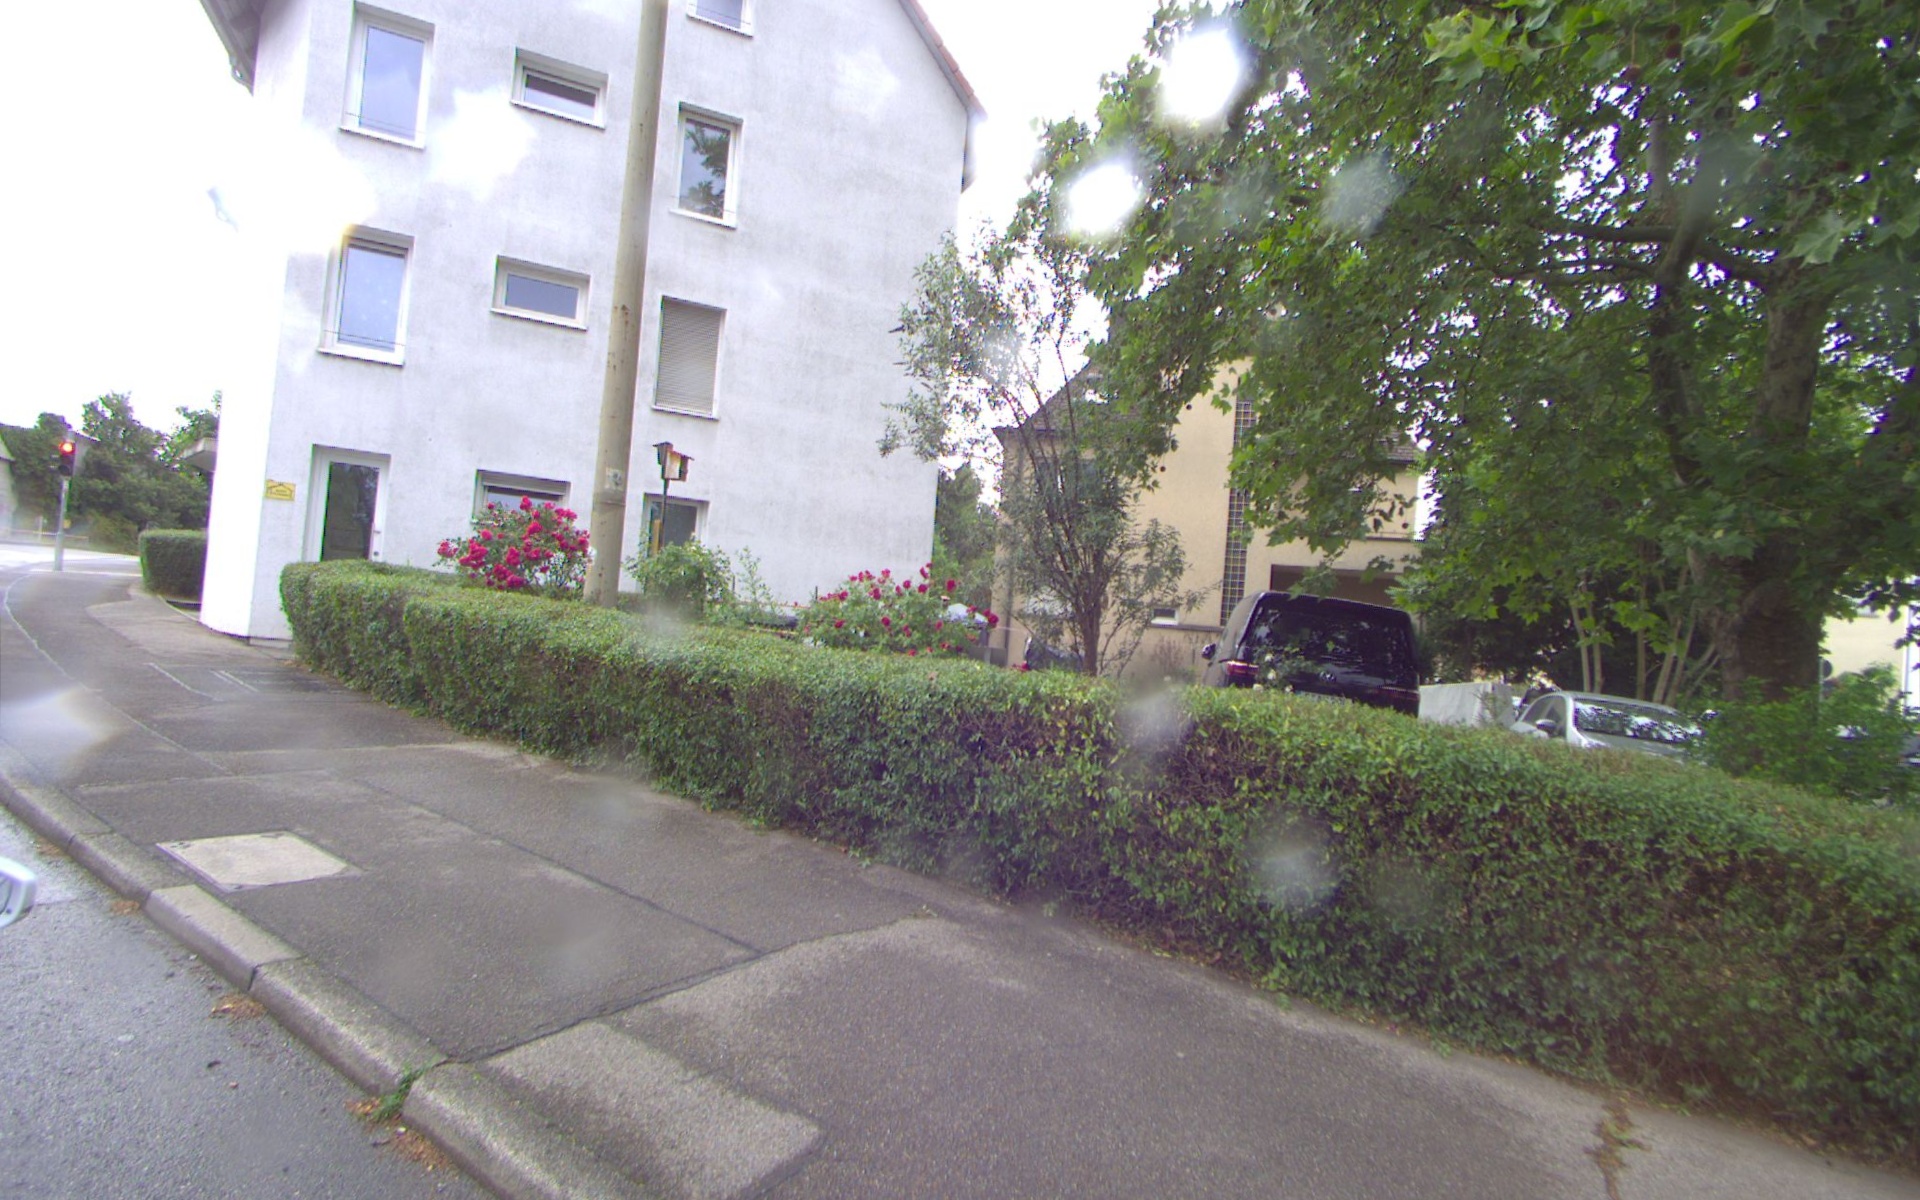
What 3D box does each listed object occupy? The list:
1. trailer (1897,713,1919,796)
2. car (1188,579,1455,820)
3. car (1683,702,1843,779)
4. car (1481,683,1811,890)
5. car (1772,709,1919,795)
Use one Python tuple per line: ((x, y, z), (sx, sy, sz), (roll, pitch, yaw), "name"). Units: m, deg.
((24.714, 3.919, 23.978), (1.640, 2.037, 3.494), (6, -1, 8), "trailer")
((3.752, 0.989, 11.307), (1.962, 1.955, 4.419), (6, -1, 11), "car")
((26.343, 4.547, 33.237), (1.962, 1.861, 4.584), (6, -2, 9), "car")
((7.380, 1.877, 11.350), (1.788, 1.599, 4.003), (6, -2, 16), "car")
((25.258, 4.207, 27.991), (1.962, 1.861, 4.584), (6, -2, 9), "car")
